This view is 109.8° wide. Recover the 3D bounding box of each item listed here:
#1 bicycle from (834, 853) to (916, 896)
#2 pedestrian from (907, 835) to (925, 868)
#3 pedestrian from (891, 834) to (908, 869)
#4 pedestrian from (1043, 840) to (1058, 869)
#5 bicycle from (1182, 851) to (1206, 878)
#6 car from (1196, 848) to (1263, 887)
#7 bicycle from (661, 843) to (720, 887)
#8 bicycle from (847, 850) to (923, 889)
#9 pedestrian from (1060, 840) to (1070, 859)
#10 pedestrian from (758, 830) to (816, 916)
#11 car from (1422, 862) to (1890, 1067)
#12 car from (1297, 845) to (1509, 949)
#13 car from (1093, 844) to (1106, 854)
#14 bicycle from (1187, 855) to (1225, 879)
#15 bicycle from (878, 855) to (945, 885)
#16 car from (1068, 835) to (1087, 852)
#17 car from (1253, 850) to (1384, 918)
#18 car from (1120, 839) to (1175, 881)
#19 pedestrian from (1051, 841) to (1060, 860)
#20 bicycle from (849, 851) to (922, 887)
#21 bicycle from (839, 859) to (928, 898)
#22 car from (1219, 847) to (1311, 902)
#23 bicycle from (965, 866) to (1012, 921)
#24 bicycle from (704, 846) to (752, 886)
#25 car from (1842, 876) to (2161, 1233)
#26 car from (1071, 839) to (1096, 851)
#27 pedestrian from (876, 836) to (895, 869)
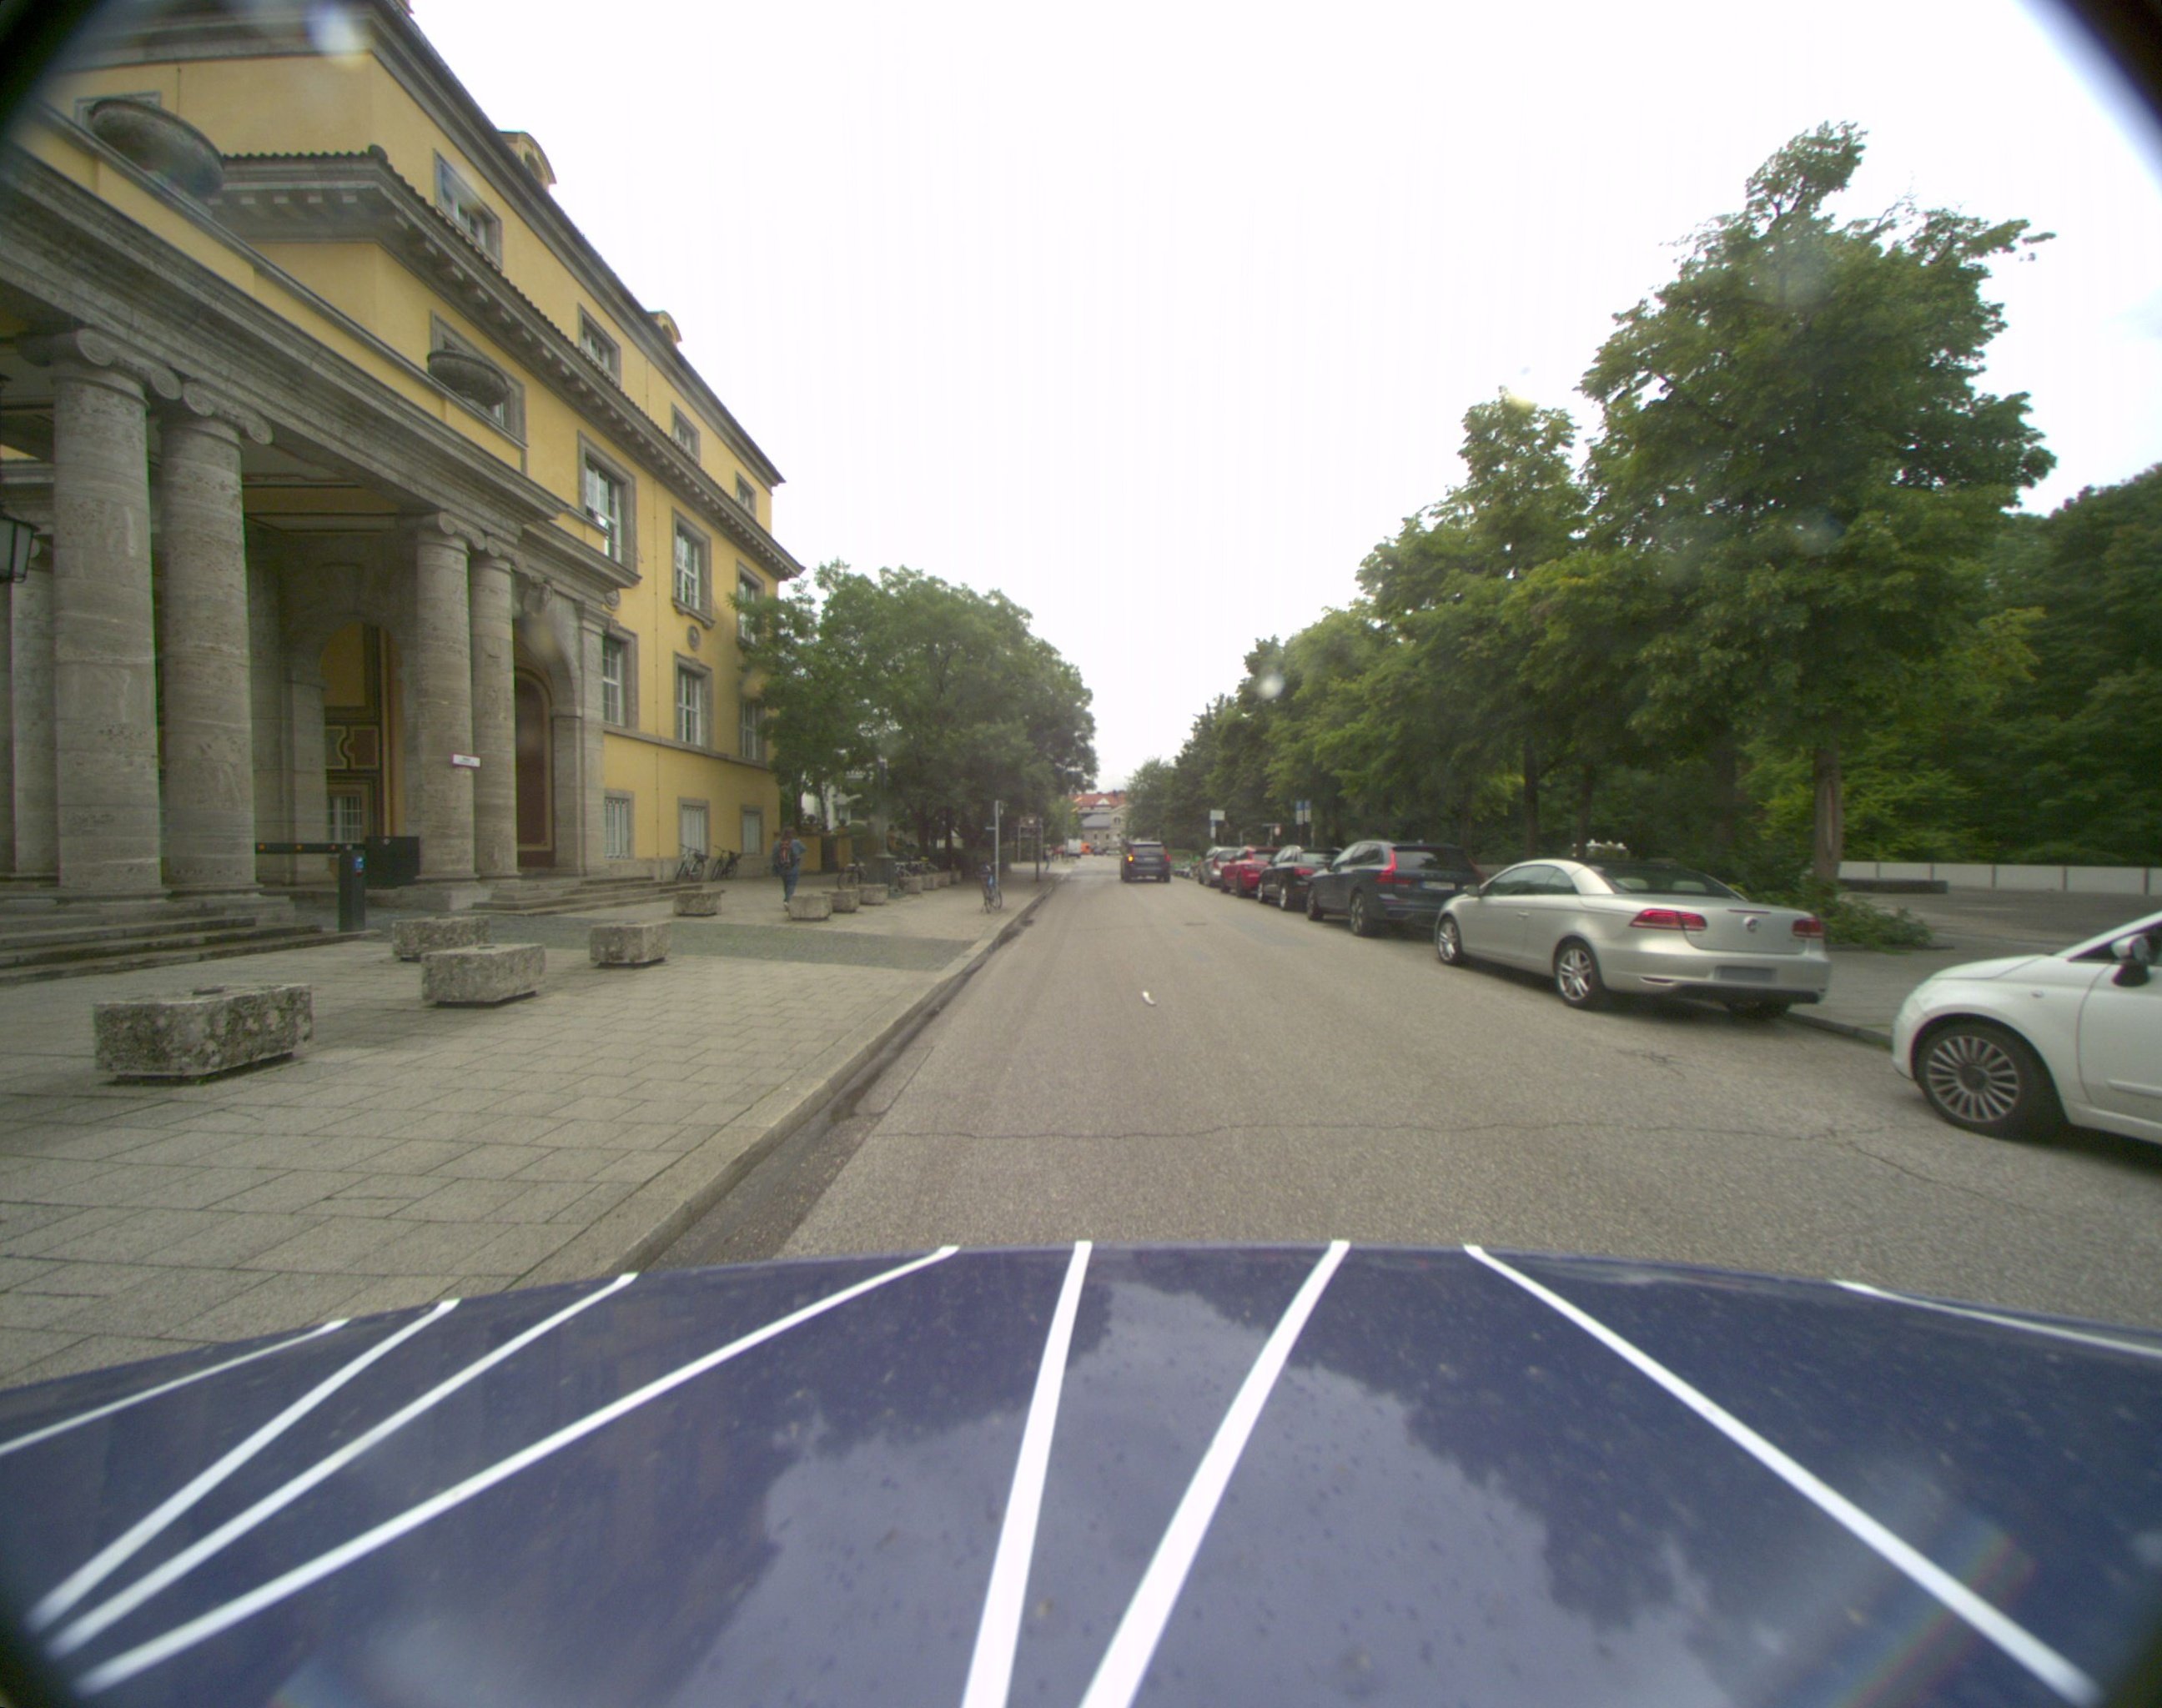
[{"bbox_3d":[-6.200,0.623,22.939,2.265,1.088,0.601,5,1,-10],"label":"bicycle"},{"bbox_3d":[-9.633,-0.144,44.384,0.782,1.855,1.035,3,2,1],"label":"pedestrian"},{"bbox_3d":[-9.837,-0.155,41.144,0.659,1.855,0.820,3,2,1],"label":"pedestrian"},{"bbox_3d":[-1.858,0.031,46.214,0.798,1.722,0.660,-3,2,0],"label":"pedestrian"},{"bbox_3d":[5.604,0.521,37.622,0.574,1.275,1.421,-1,1,33],"label":"bicycle"},{"bbox_3d":[5.941,0.490,30.840,1.998,1.452,4.364,1,1,2],"label":"car"},{"bbox_3d":[-12.037,0.308,23.510,0.601,1.299,2.264,1,1,1],"label":"bicycle"},{"bbox_3d":[-6.357,0.504,24.718,2.265,1.053,0.601,5,1,-10],"label":"bicycle"},{"bbox_3d":[-1.598,-0.430,75.351,0.777,1.855,0.997,-3,2,-5],"label":"pedestrian"},{"bbox_3d":[-6.108,0.371,15.856,0.790,1.736,1.055,1,1,0],"label":"pedestrian"},{"bbox_3d":[5.387,0.875,7.990,1.762,1.392,4.217,3,1,2],"label":"car"},{"bbox_3d":[5.564,0.629,13.884,1.998,1.574,4.521,1,1,1],"label":"car"},{"bbox_3d":[3.546,-1.001,146.311,2.222,1.840,4.729,-3,2,1],"label":"car"},{"bbox_3d":[5.935,0.618,36.092,1.700,1.101,0.598,-1,2,-7],"label":"bicycle"},{"bbox_3d":[-6.197,0.579,27.784,2.261,1.005,0.602,2,1,3],"label":"bicycle"},{"bbox_3d":[-0.563,-1.465,106.211,2.236,2.289,4.728,-3,2,-4],"label":"car"},{"bbox_3d":[5.820,0.661,19.261,1.998,1.452,4.647,1,1,2],"label":"car"},{"bbox_3d":[2.879,0.220,33.854,1.965,1.672,4.911,2,1,0],"label":"car"},{"bbox_3d":[-2.518,-0.370,75.284,0.777,1.855,0.996,-3,2,-7],"label":"pedestrian"},{"bbox_3d":[-6.565,0.497,25.633,2.265,1.018,0.601,5,1,-10],"label":"bicycle"},{"bbox_3d":[-5.626,0.691,21.743,2.370,1.000,0.677,2,1,-8],"label":"bicycle"},{"bbox_3d":[5.704,0.565,24.108,1.998,1.535,4.364,1,1,2],"label":"car"},{"bbox_3d":[-2.126,0.876,17.734,0.762,1.094,2.263,2,1,0],"label":"bicycle"},{"bbox_3d":[-11.995,0.385,25.869,0.601,1.299,2.164,1,1,1],"label":"bicycle"},{"bbox_3d":[5.373,0.906,2.795,1.547,1.462,3.552,2,1,1],"label":"car"},{"bbox_3d":[0.584,-2.029,169.061,4.973,2.521,2.577,-1,2,44],"label":"car"},{"bbox_3d":[-10.561,-0.068,41.151,0.741,1.734,0.841,3,2,1],"label":"pedestrian"}]
